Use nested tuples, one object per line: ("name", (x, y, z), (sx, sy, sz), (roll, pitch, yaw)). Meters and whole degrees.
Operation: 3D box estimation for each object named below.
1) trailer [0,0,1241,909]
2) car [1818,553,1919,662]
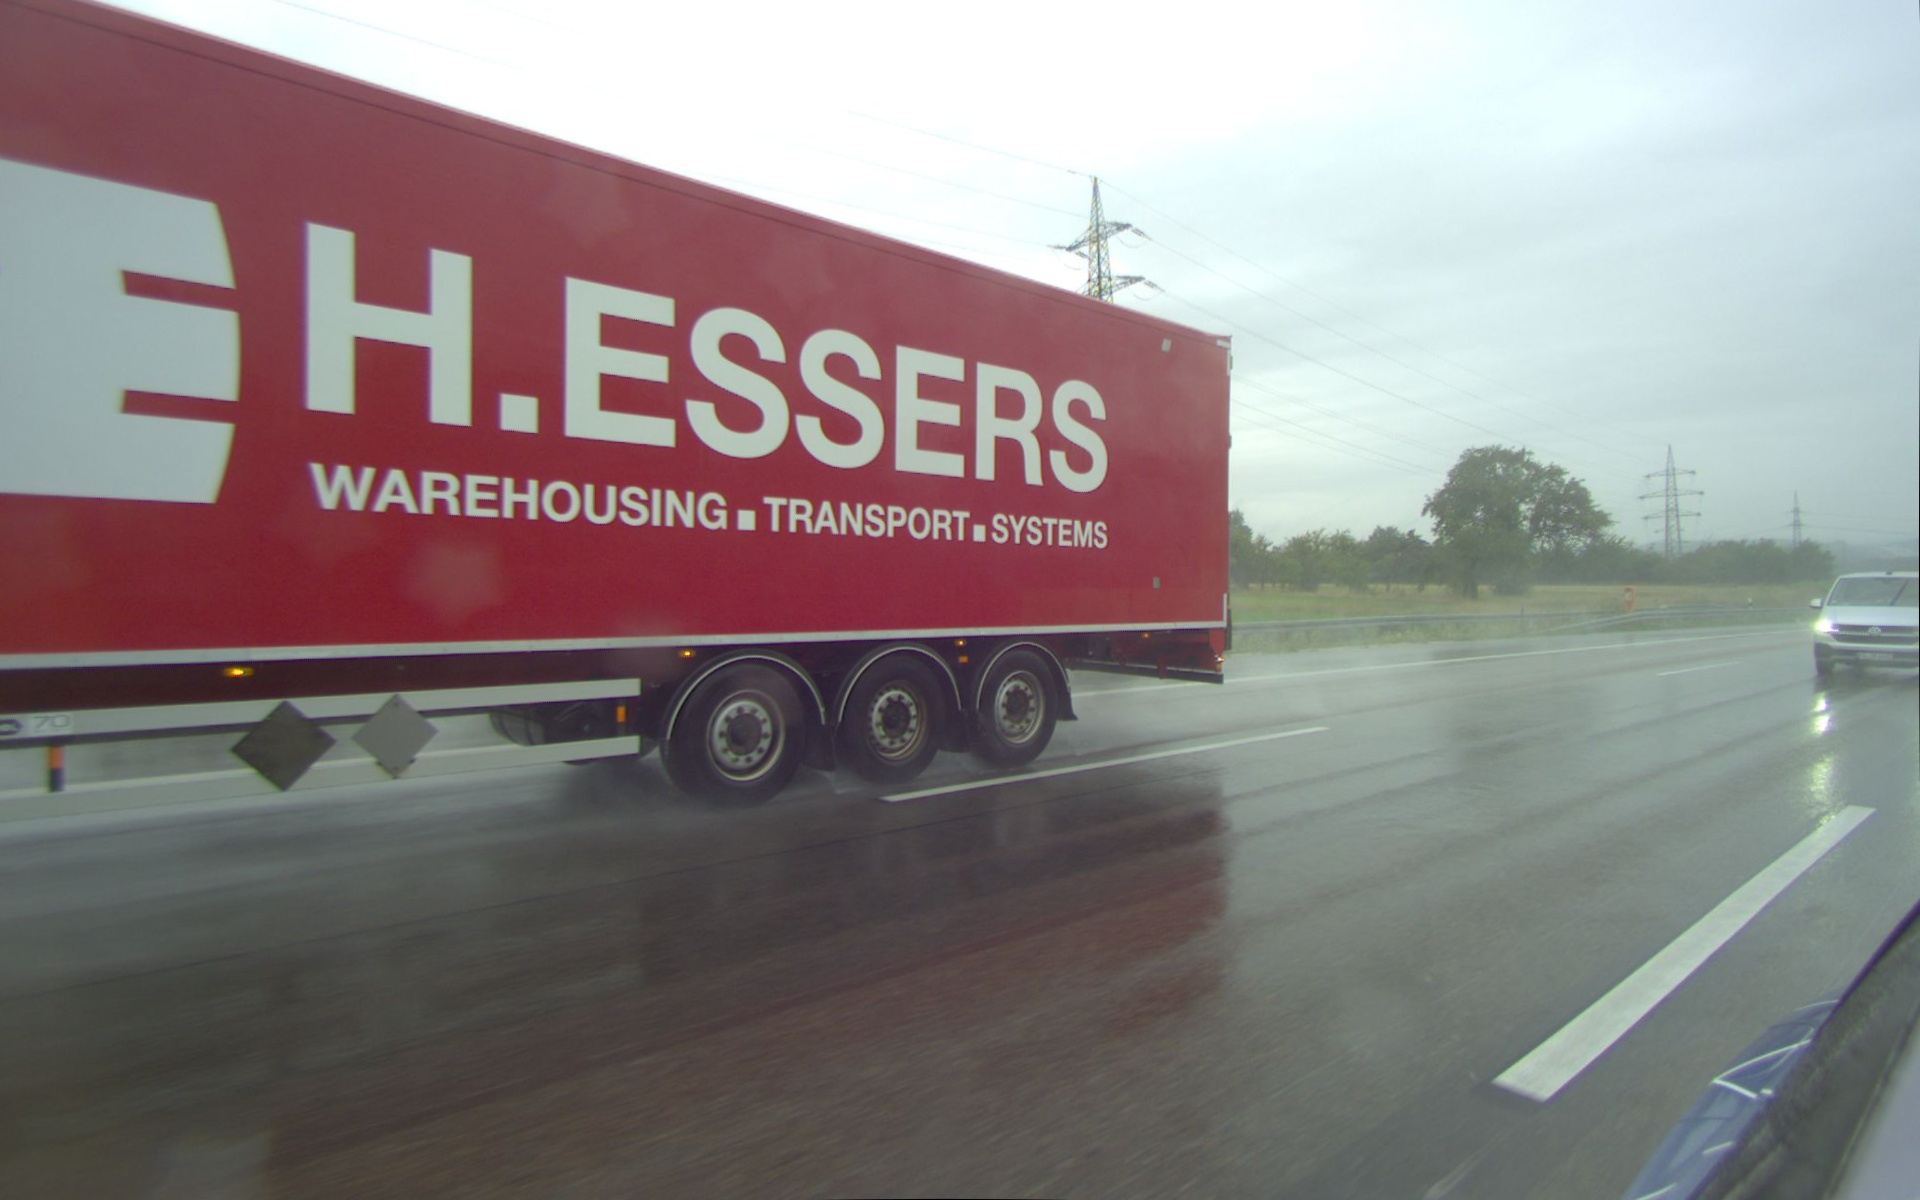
("trailer", (-3.068, -0.755, 6.717), (13.393, 4.005, 2.624), (-1, 1, -41))
("car", (18.434, 0.138, 19.540), (4.918, 1.908, 1.891), (0, -2, -39))
